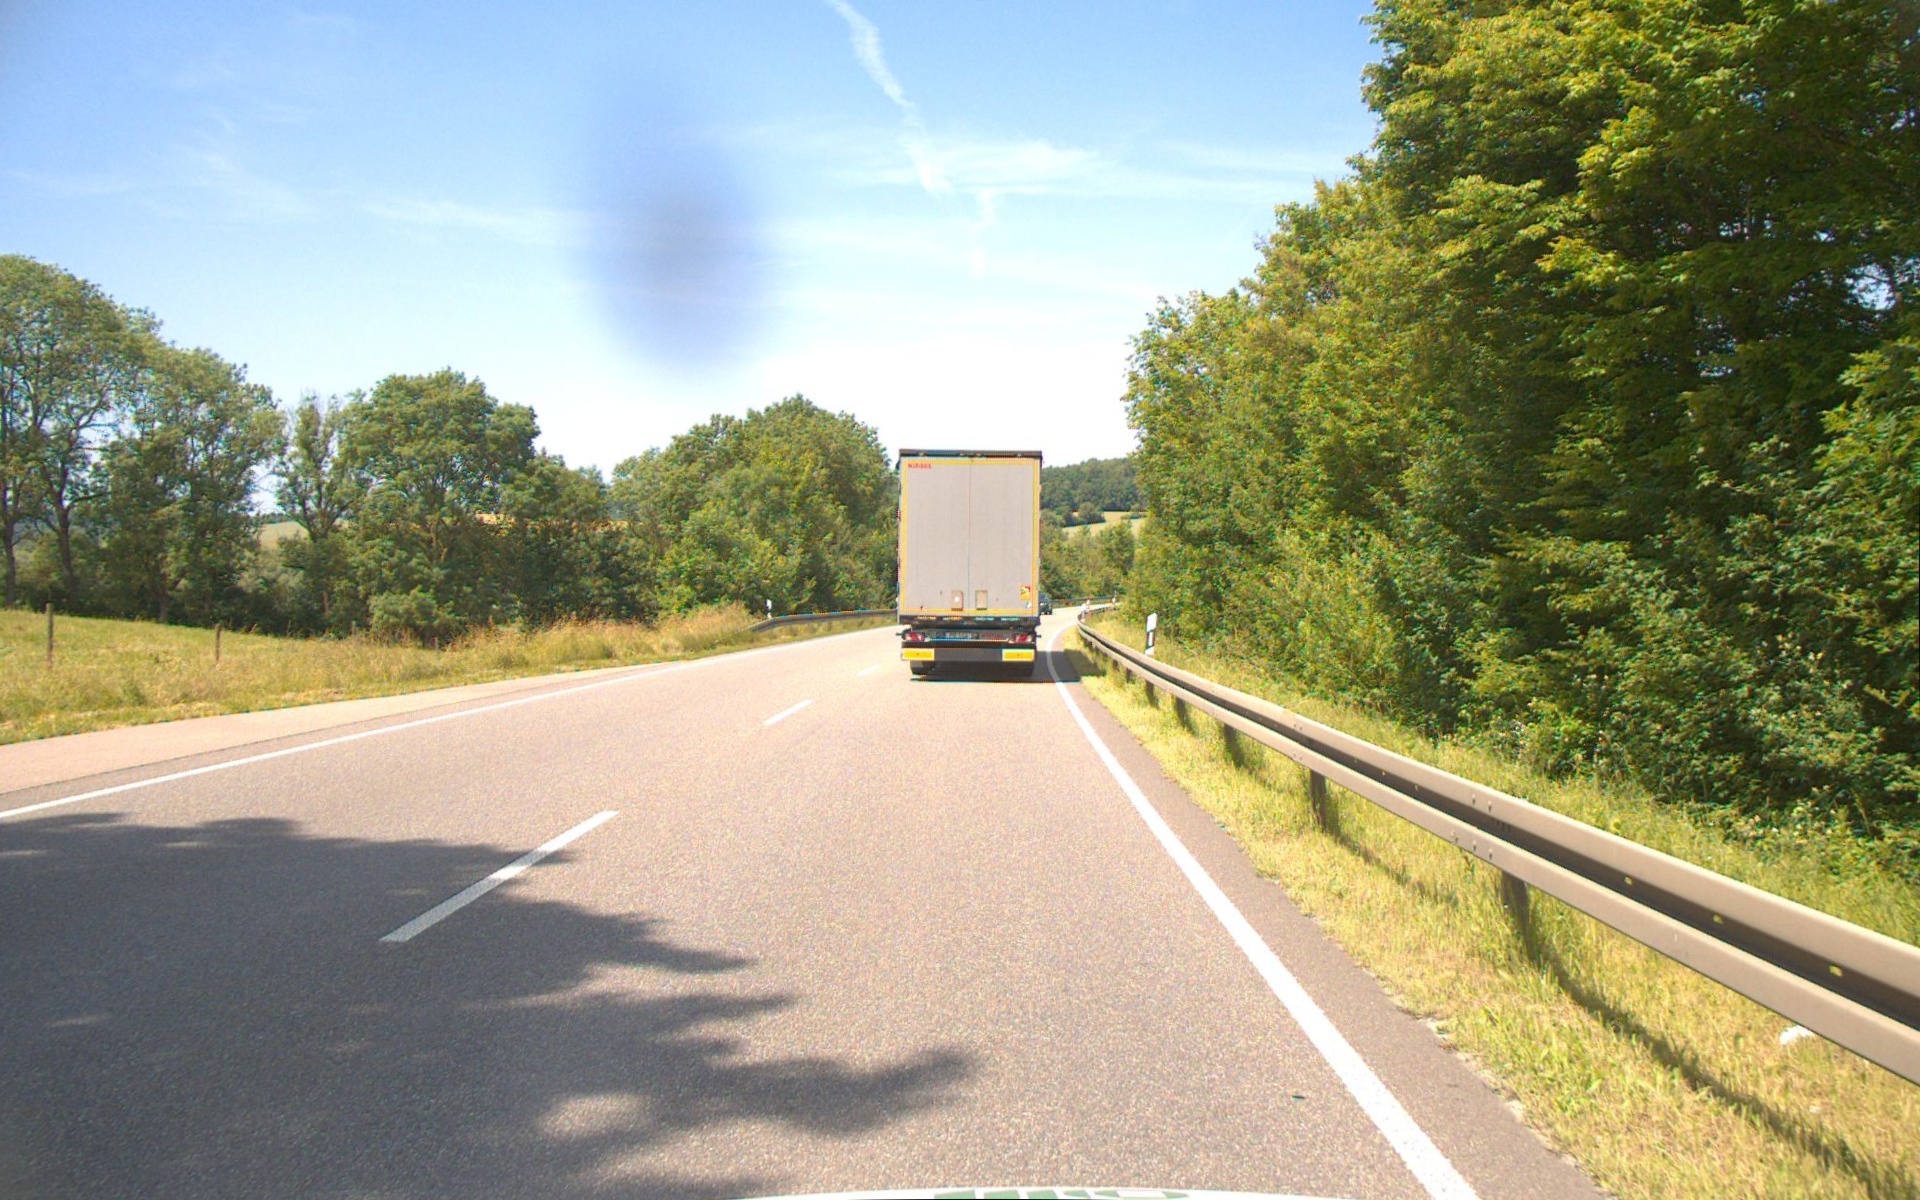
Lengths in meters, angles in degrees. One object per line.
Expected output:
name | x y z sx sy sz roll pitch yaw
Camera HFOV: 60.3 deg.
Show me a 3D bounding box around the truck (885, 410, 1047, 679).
truck | 0.108 -0.972 34.488 2.760 4.612 11.767 1 0 0
